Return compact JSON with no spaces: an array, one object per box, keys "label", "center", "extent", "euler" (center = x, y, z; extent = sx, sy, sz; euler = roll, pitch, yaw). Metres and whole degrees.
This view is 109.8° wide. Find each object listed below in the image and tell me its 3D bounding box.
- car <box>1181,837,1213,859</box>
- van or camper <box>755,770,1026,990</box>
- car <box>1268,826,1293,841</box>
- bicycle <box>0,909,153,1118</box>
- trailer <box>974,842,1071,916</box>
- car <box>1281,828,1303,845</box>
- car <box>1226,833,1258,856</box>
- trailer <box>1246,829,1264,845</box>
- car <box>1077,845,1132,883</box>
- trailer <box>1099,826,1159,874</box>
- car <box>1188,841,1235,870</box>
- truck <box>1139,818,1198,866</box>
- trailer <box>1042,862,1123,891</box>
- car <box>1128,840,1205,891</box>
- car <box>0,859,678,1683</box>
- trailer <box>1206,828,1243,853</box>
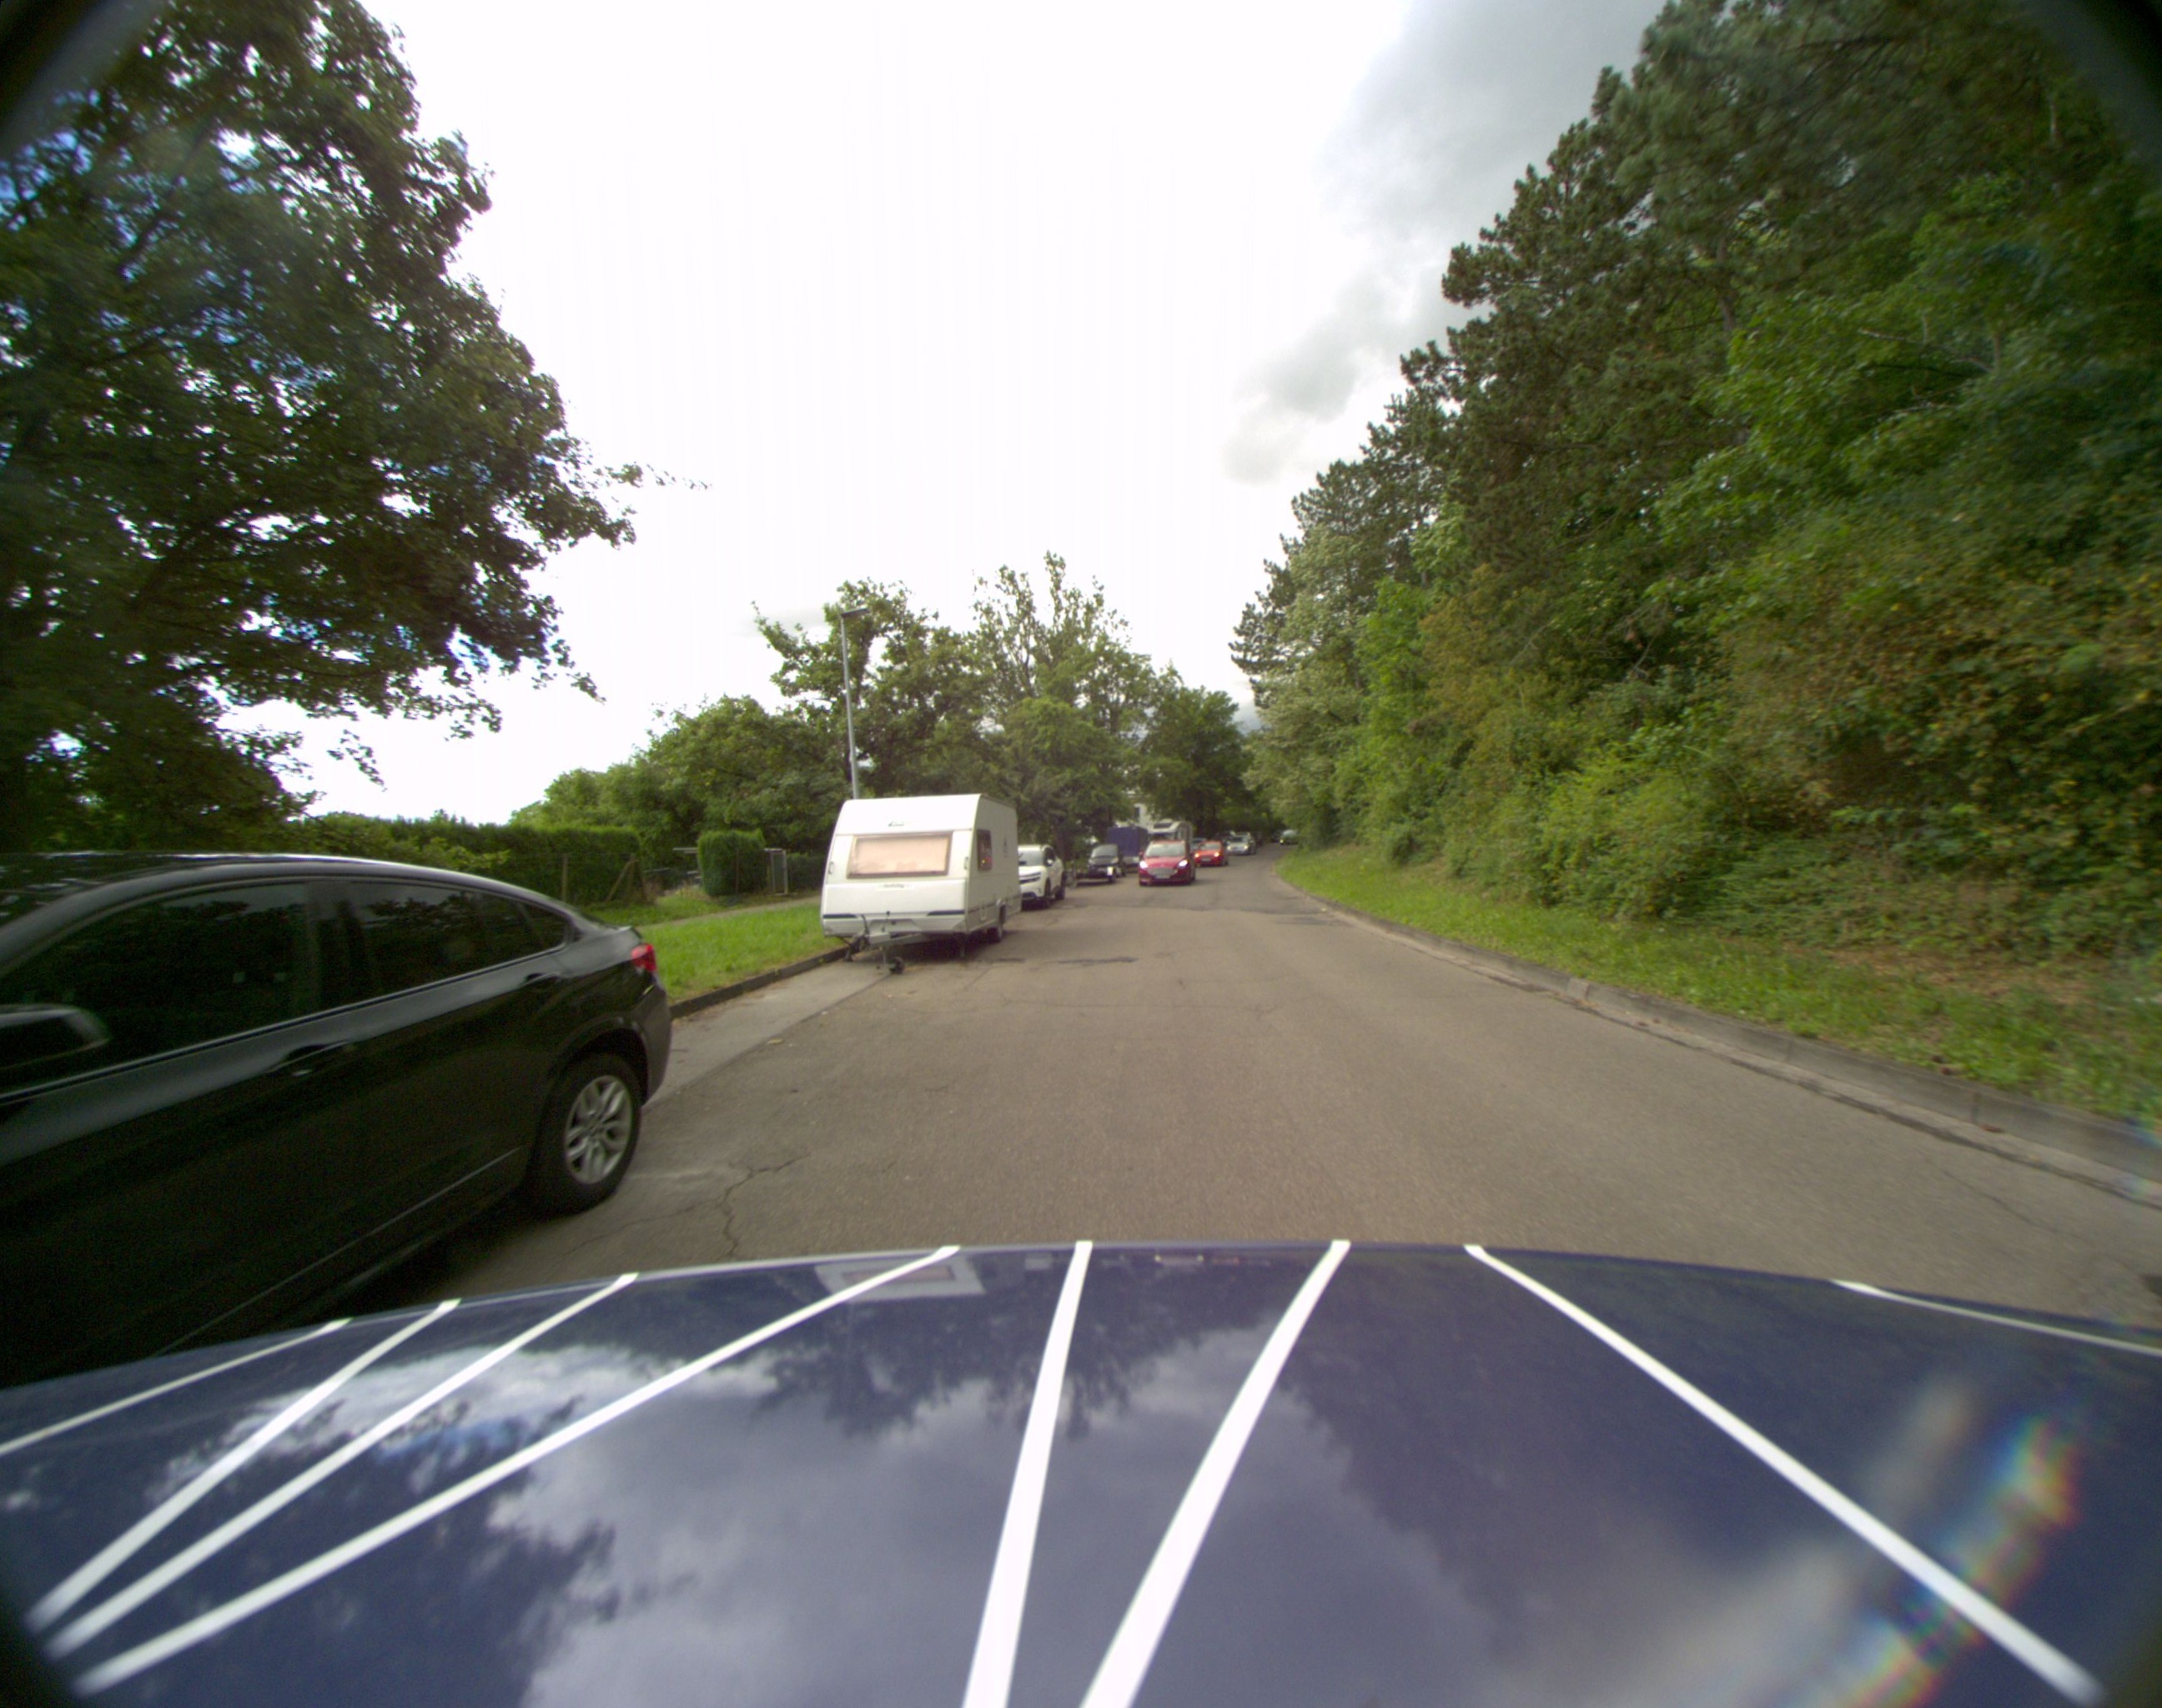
[{"label":"car","center":[9.248,-0.477,60.467],"extent":[1.697,1.539,3.772],"euler":[-2,2,22]},{"label":"van or camper","center":[-2.503,0.253,12.079],"extent":[2.166,2.522,6.032],"euler":[-3,1,5]},{"label":"car","center":[23.660,-2.451,89.929],"extent":[1.864,1.558,4.182],"euler":[-3,2,29]},{"label":"bicycle","center":[-6.998,1.068,4.356],"extent":[0.535,1.209,2.183],"euler":[-4,3,0]},{"label":"trailer","center":[-1.492,0.597,21.234],"extent":[1.776,1.721,4.651],"euler":[-1,2,7]},{"label":"car","center":[22.416,-1.886,80.662],"extent":[1.765,1.509,4.004],"euler":[-3,2,23]},{"label":"car","center":[12.877,-0.775,60.589],"extent":[1.920,1.672,4.004],"euler":[-1,3,21]},{"label":"trailer","center":[18.461,-1.847,80.645],"extent":[1.375,1.595,2.270],"euler":[-3,2,23]},{"label":"car","center":[1.125,0.428,35.190],"extent":[1.732,1.513,3.408],"euler":[-3,1,15]},{"label":"trailer","center":[2.609,-0.205,40.041],"extent":[2.109,2.348,4.707],"euler":[-1,0,17]},{"label":"car","center":[7.724,0.054,44.639],"extent":[1.864,1.440,4.181],"euler":[-2,2,22]},{"label":"truck","center":[5.914,-0.879,50.503],"extent":[2.306,2.917,7.041],"euler":[-1,2,19]},{"label":"trailer","center":[0.207,0.833,29.537],"extent":[2.108,0.647,6.404],"euler":[-3,1,9]},{"label":"car","center":[3.332,0.369,28.685],"extent":[1.996,1.619,4.630],"euler":[-3,1,17]},{"label":"car","center":[-3.172,0.914,1.883],"extent":[1.853,1.633,4.529],"euler":[-2,1,0]},{"label":"trailer","center":[13.126,-1.260,68.977],"extent":[1.995,1.922,5.899],"euler":[-2,3,23]}]
